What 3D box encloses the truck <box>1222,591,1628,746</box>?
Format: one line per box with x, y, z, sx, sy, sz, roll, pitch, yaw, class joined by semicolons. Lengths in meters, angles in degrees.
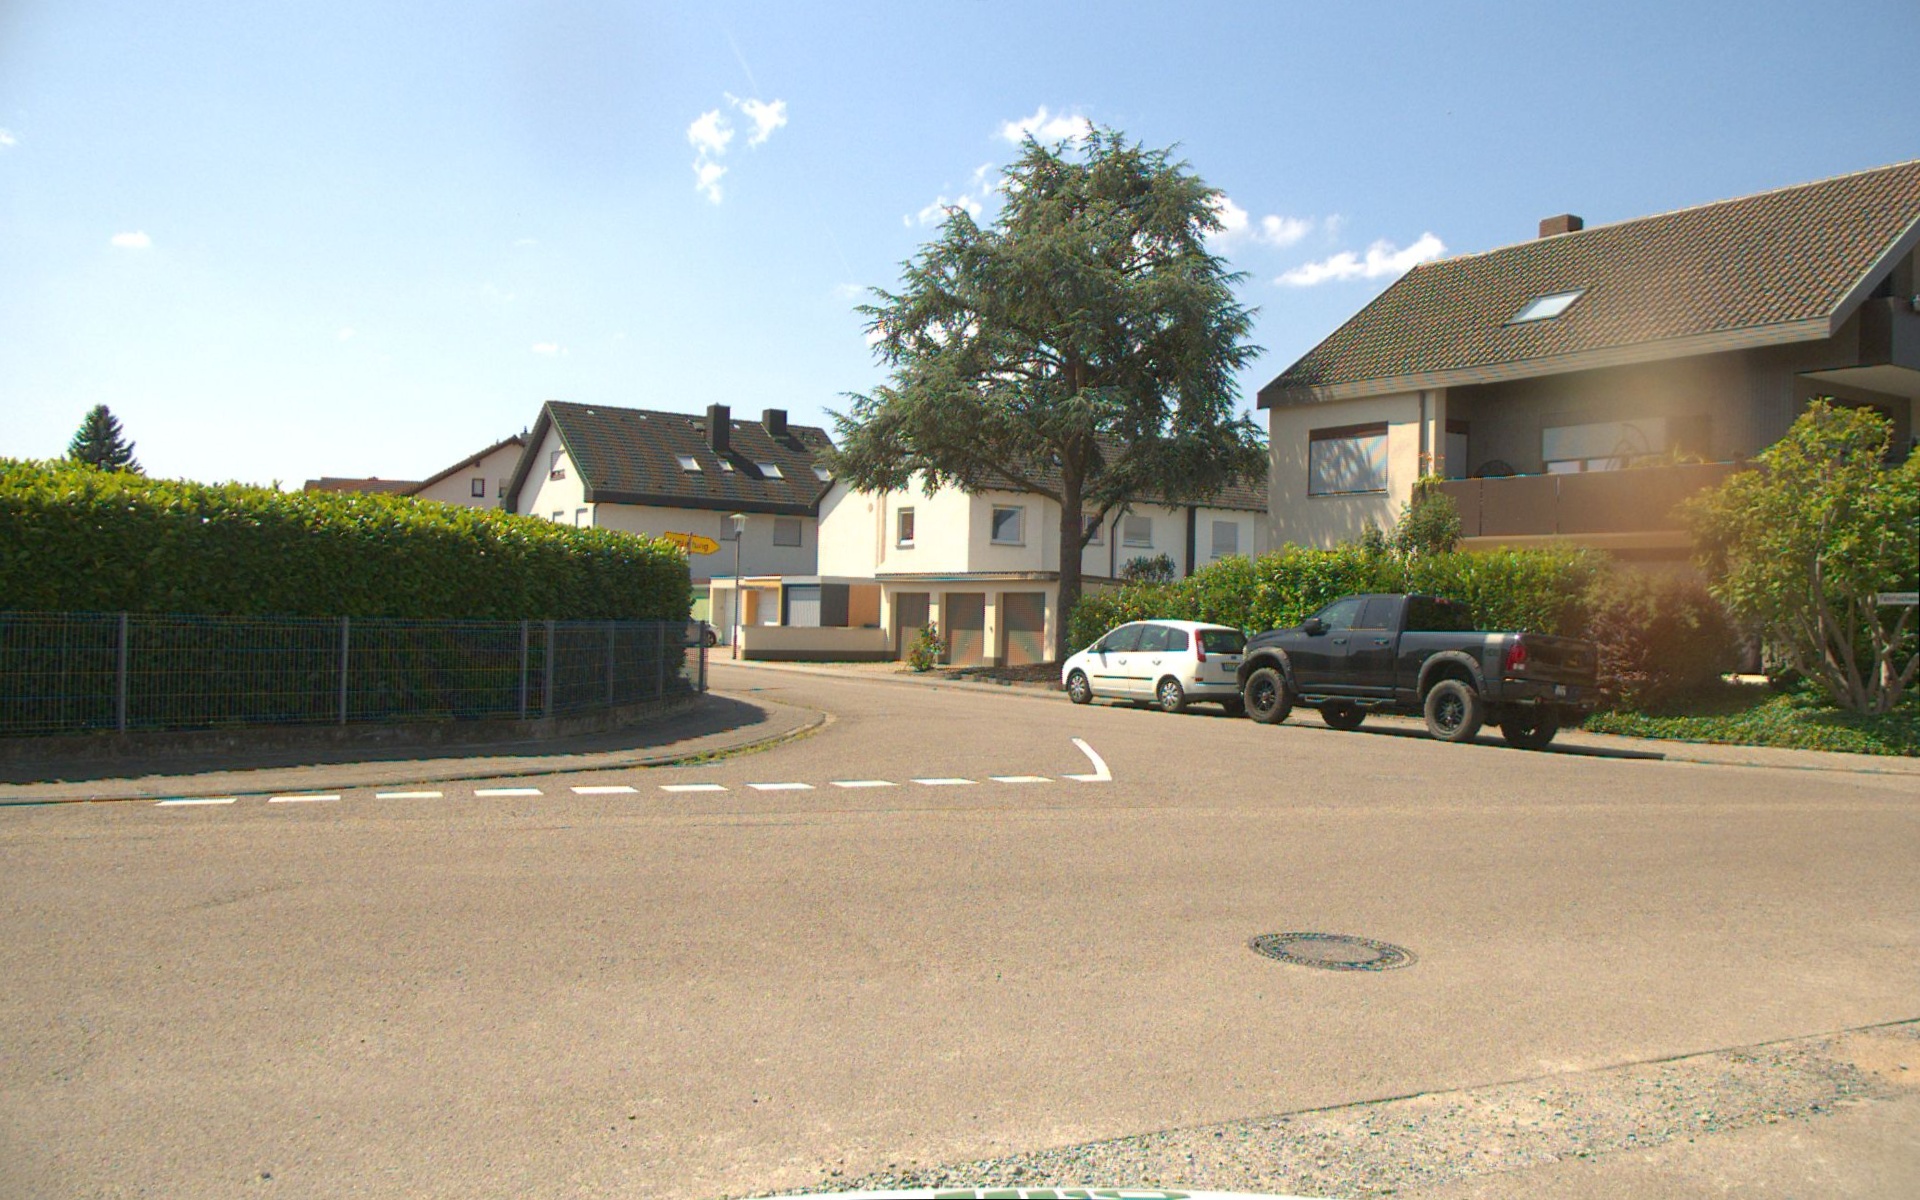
6.781;0.922;24.807;2.345;2.049;5.639;2;-1;-36;truck

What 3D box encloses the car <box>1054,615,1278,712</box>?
3.691;1.119;30.244;1.783;1.590;4.091;2;-1;-35;car

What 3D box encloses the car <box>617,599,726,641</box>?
-10.582;0.731;60.710;3.567;1.433;1.763;2;-1;-34;car
